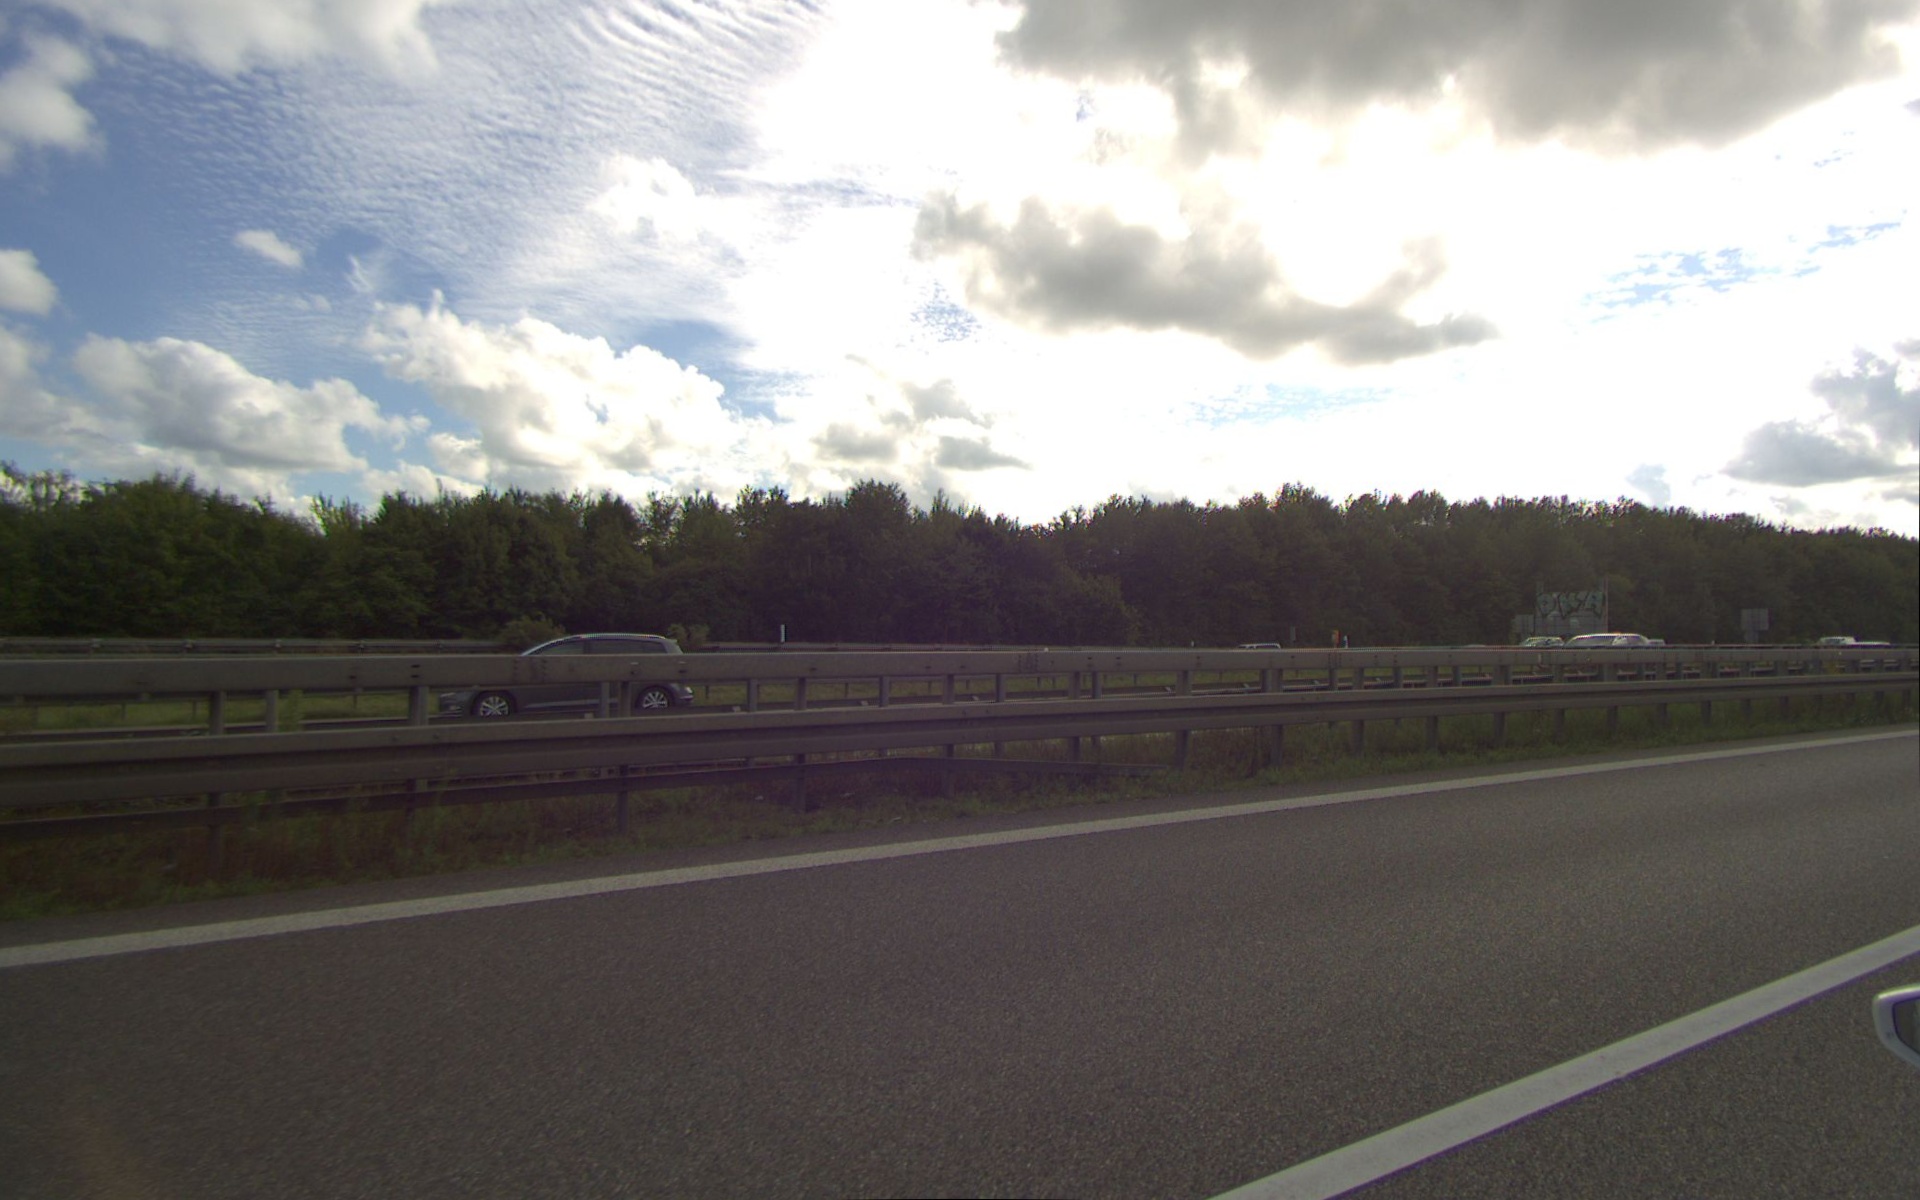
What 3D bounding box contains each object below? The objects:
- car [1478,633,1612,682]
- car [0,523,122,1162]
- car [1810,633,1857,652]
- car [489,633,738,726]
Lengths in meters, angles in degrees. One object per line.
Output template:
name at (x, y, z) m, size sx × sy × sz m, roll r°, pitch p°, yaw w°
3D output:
car at (16.428, 1.584, 28.163) m, size 4.068 × 1.235 × 1.516 m, roll 2°, pitch -1°, yaw -32°
car at (-4.952, 0.569, 1.462) m, size 5.437 × 1.658 × 1.903 m, roll 2°, pitch -1°, yaw -31°
car at (78.272, 3.806, 90.037) m, size 4.954 × 1.598 × 1.762 m, roll 1°, pitch -2°, yaw -31°
car at (-6.578, 1.465, 19.200) m, size 4.245 × 1.597 × 1.718 m, roll 2°, pitch -3°, yaw -30°
